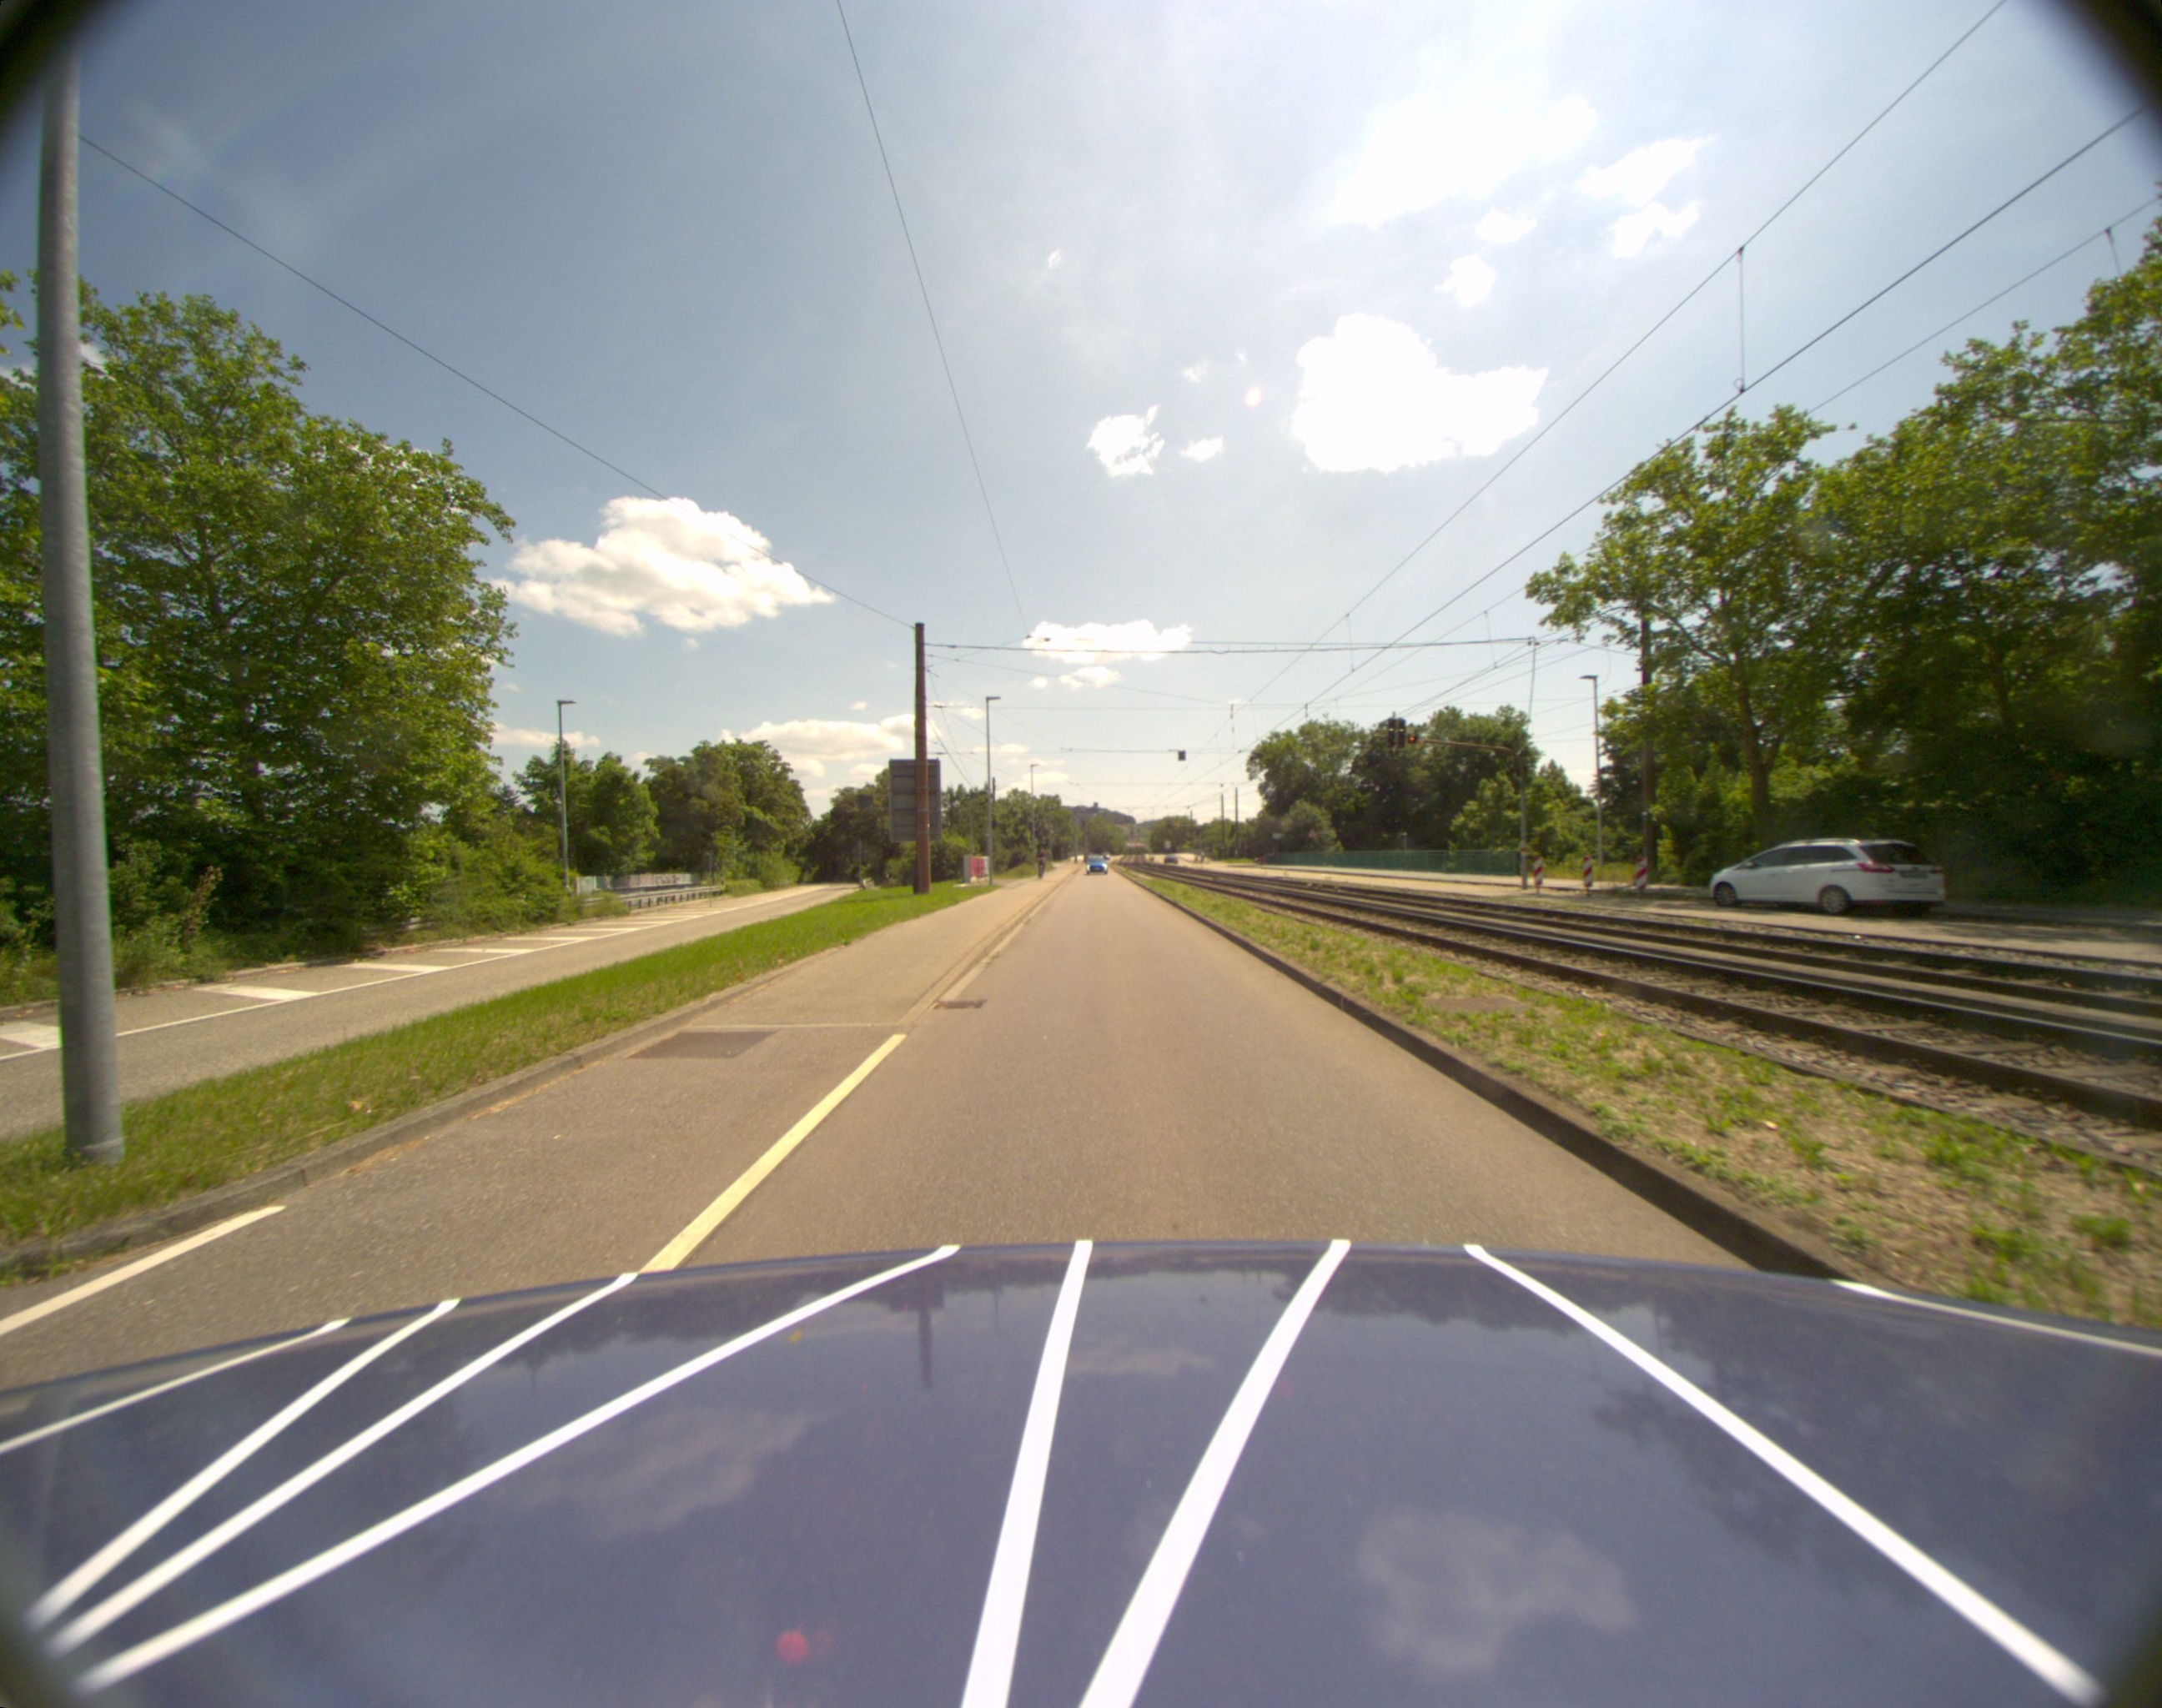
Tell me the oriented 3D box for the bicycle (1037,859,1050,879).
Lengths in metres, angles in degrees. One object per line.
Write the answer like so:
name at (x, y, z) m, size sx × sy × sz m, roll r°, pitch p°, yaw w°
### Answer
bicycle at (-2.237, 0.887, 45.780) m, size 0.433 × 1.145 × 1.856 m, roll -3°, pitch -1°, yaw 6°

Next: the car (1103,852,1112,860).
car at (5.614, 0.436, 163.258) m, size 1.730 × 1.695 × 4.000 m, roll -2°, pitch -1°, yaw 0°

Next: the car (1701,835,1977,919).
car at (17.168, 0.511, 17.628) m, size 1.724 × 1.621 × 4.617 m, roll -2°, pitch -1°, yaw 0°

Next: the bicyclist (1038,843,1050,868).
bicyclist at (-2.259, 0.102, 45.963) m, size 0.586 × 1.486 × 0.558 m, roll -3°, pitch -1°, yaw 6°

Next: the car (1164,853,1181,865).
car at (14.015, 0.722, 116.514) m, size 1.880 × 1.710 × 5.330 m, roll -2°, pitch 0°, yaw 0°

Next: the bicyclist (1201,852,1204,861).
bicyclist at (20.283, 0.488, 126.650) m, size 0.457 × 1.465 × 0.633 m, roll -2°, pitch 1°, yaw 3°

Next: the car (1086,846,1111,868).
car at (1.403, 0.259, 61.573) m, size 1.864 × 1.630 × 4.001 m, roll -2°, pitch -1°, yaw 1°
